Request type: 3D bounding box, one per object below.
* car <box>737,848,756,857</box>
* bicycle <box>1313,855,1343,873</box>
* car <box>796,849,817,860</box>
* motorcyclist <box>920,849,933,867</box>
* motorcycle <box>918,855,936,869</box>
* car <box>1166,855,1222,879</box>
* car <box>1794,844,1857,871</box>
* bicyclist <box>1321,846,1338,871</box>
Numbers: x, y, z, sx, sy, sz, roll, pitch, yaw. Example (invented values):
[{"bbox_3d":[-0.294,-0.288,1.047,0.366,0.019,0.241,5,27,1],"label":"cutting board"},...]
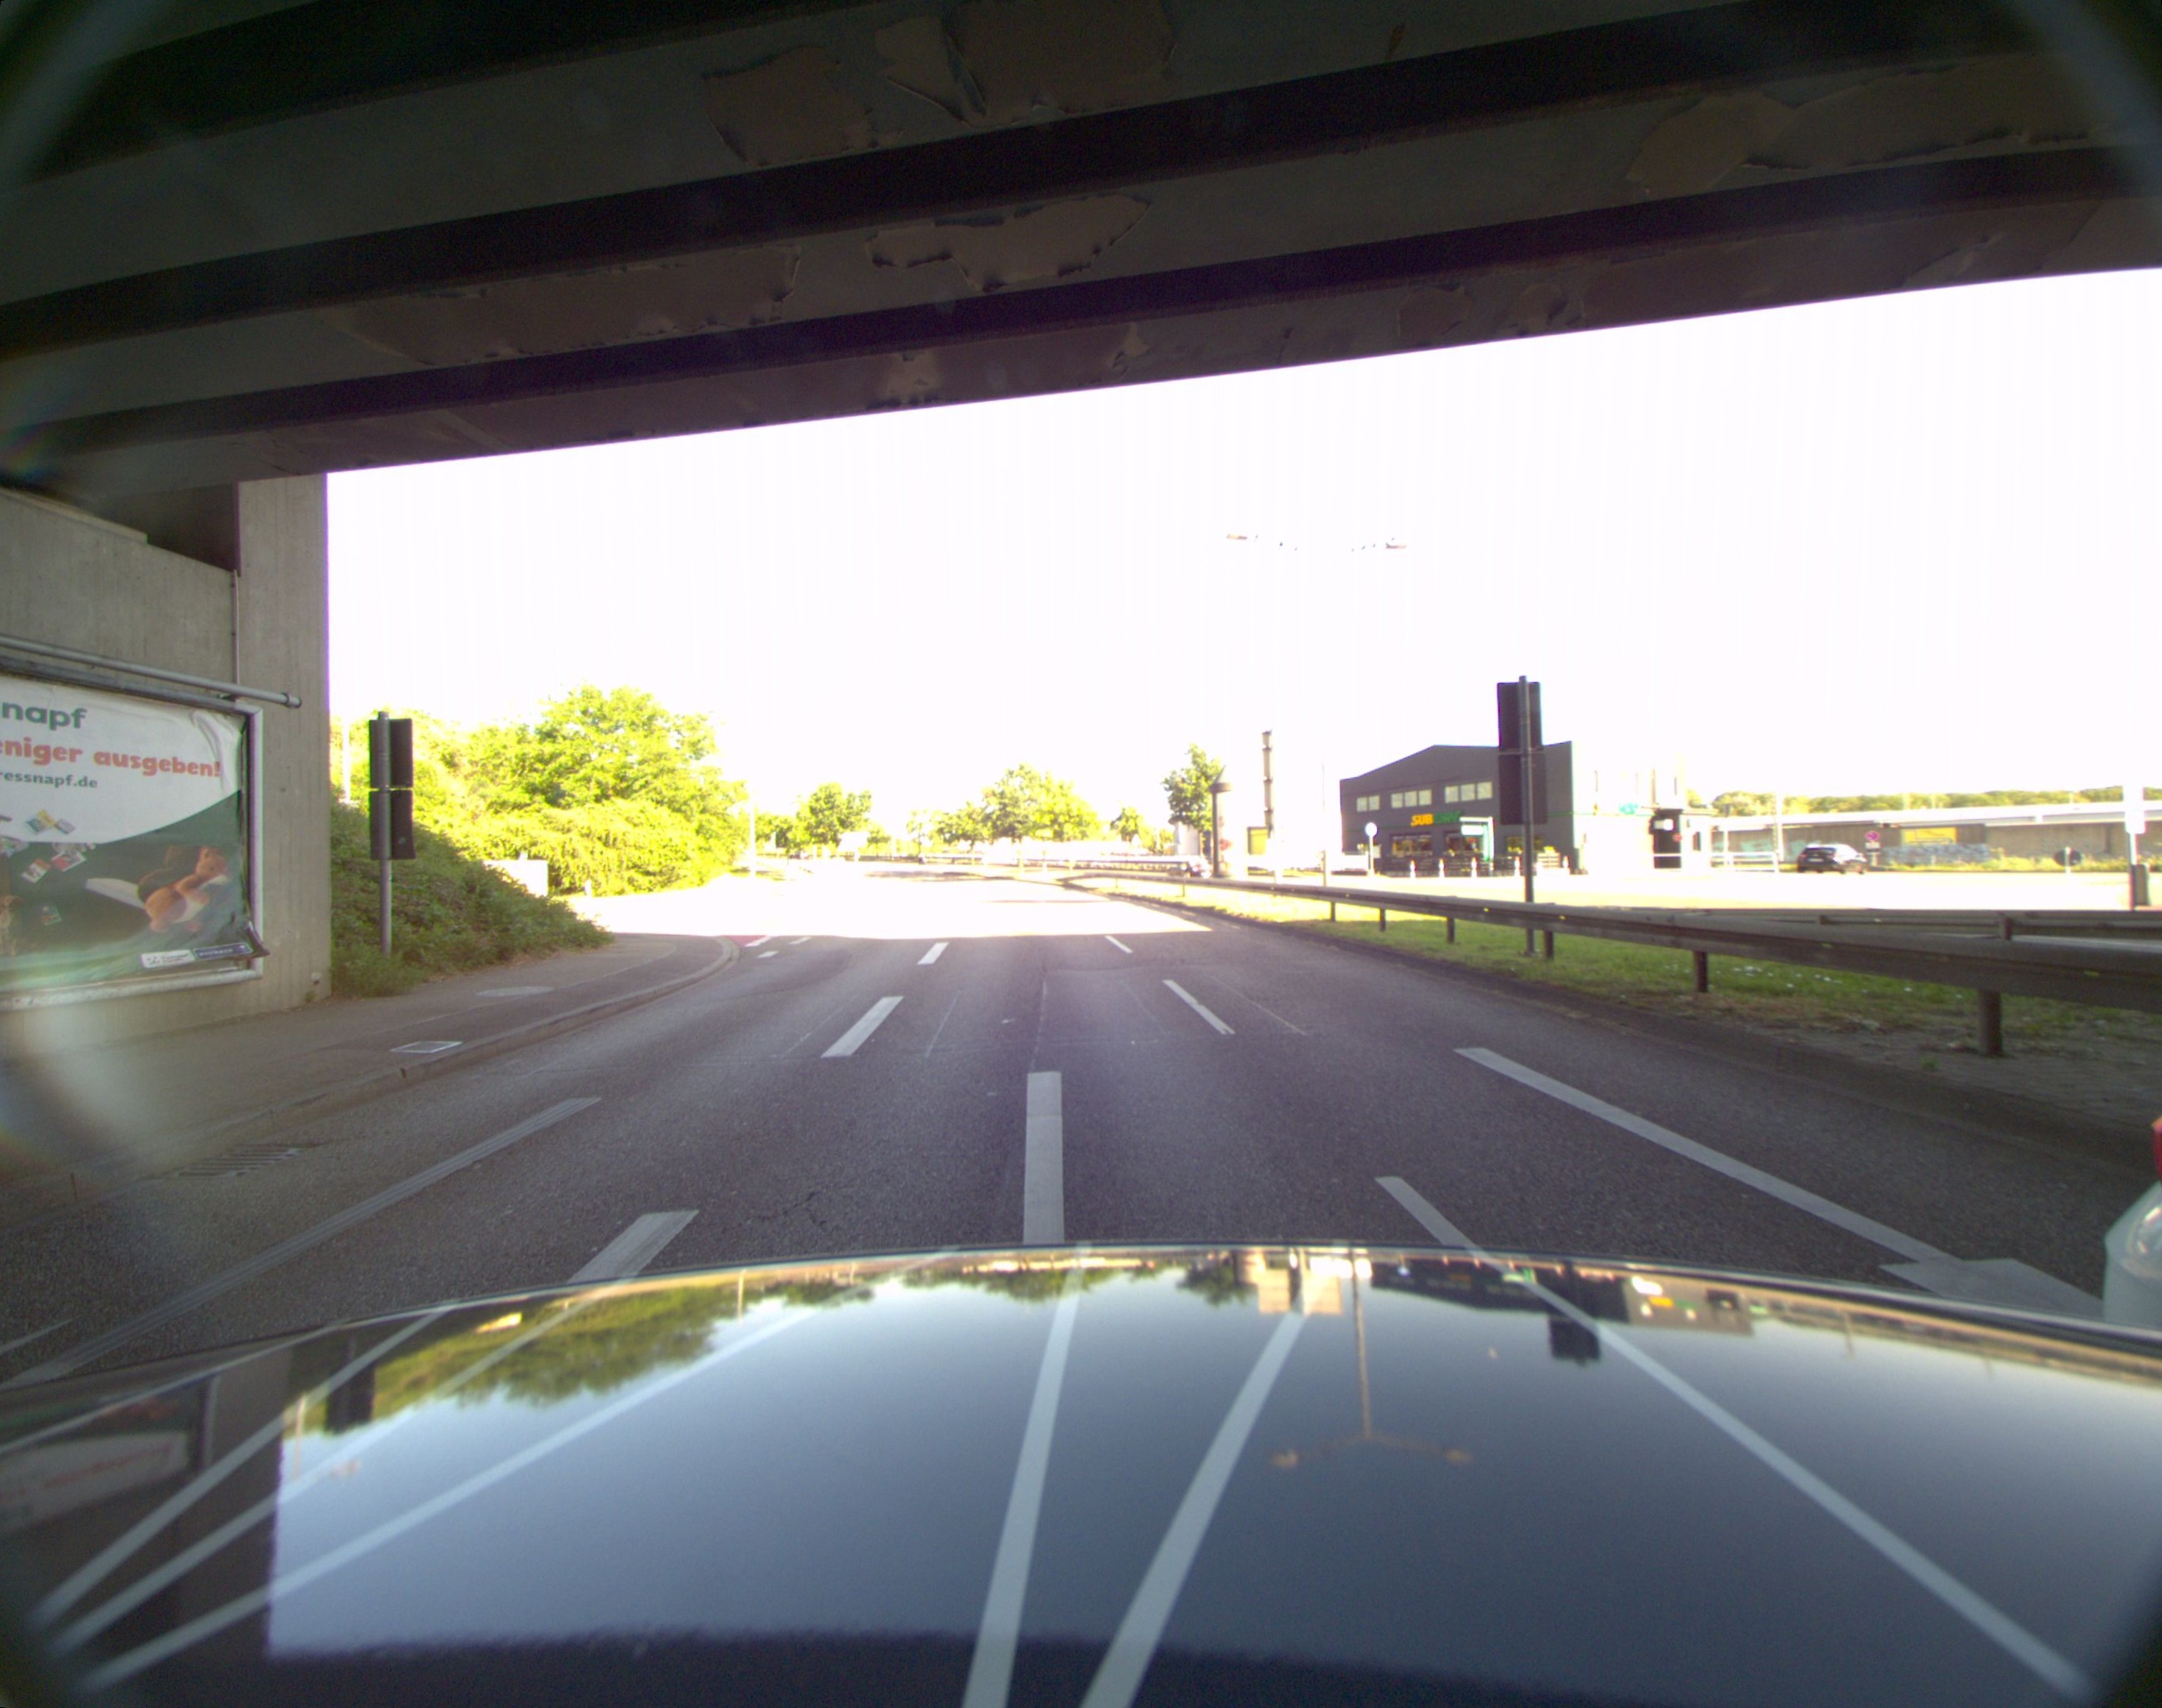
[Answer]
[{"bbox_3d":[-60.394,-0.271,137.252,1.742,1.411,4.307,0,-2,-43],"label":"car"},{"bbox_3d":[14.453,0.597,44.457,0.594,1.017,1.746,-3,1,-28],"label":"bicycle"},{"bbox_3d":[-46.762,0.103,129.486,1.835,1.727,4.516,1,0,-42],"label":"car"},{"bbox_3d":[-19.434,0.513,95.723,1.110,2.228,1.180,-3,1,-33],"label":"motorcyclist"},{"bbox_3d":[-19.415,0.987,95.744,1.110,1.651,3.147,-3,1,-33],"label":"motorcycle"},{"bbox_3d":[6.584,0.736,44.844,1.749,1.274,4.177,1,0,-15],"label":"car"},{"bbox_3d":[38.285,0.187,39.027,4.191,1.274,1.825,1,0,-39],"label":"car"},{"bbox_3d":[14.494,0.255,44.375,0.594,1.419,0.707,-3,1,-28],"label":"bicyclist"}]
